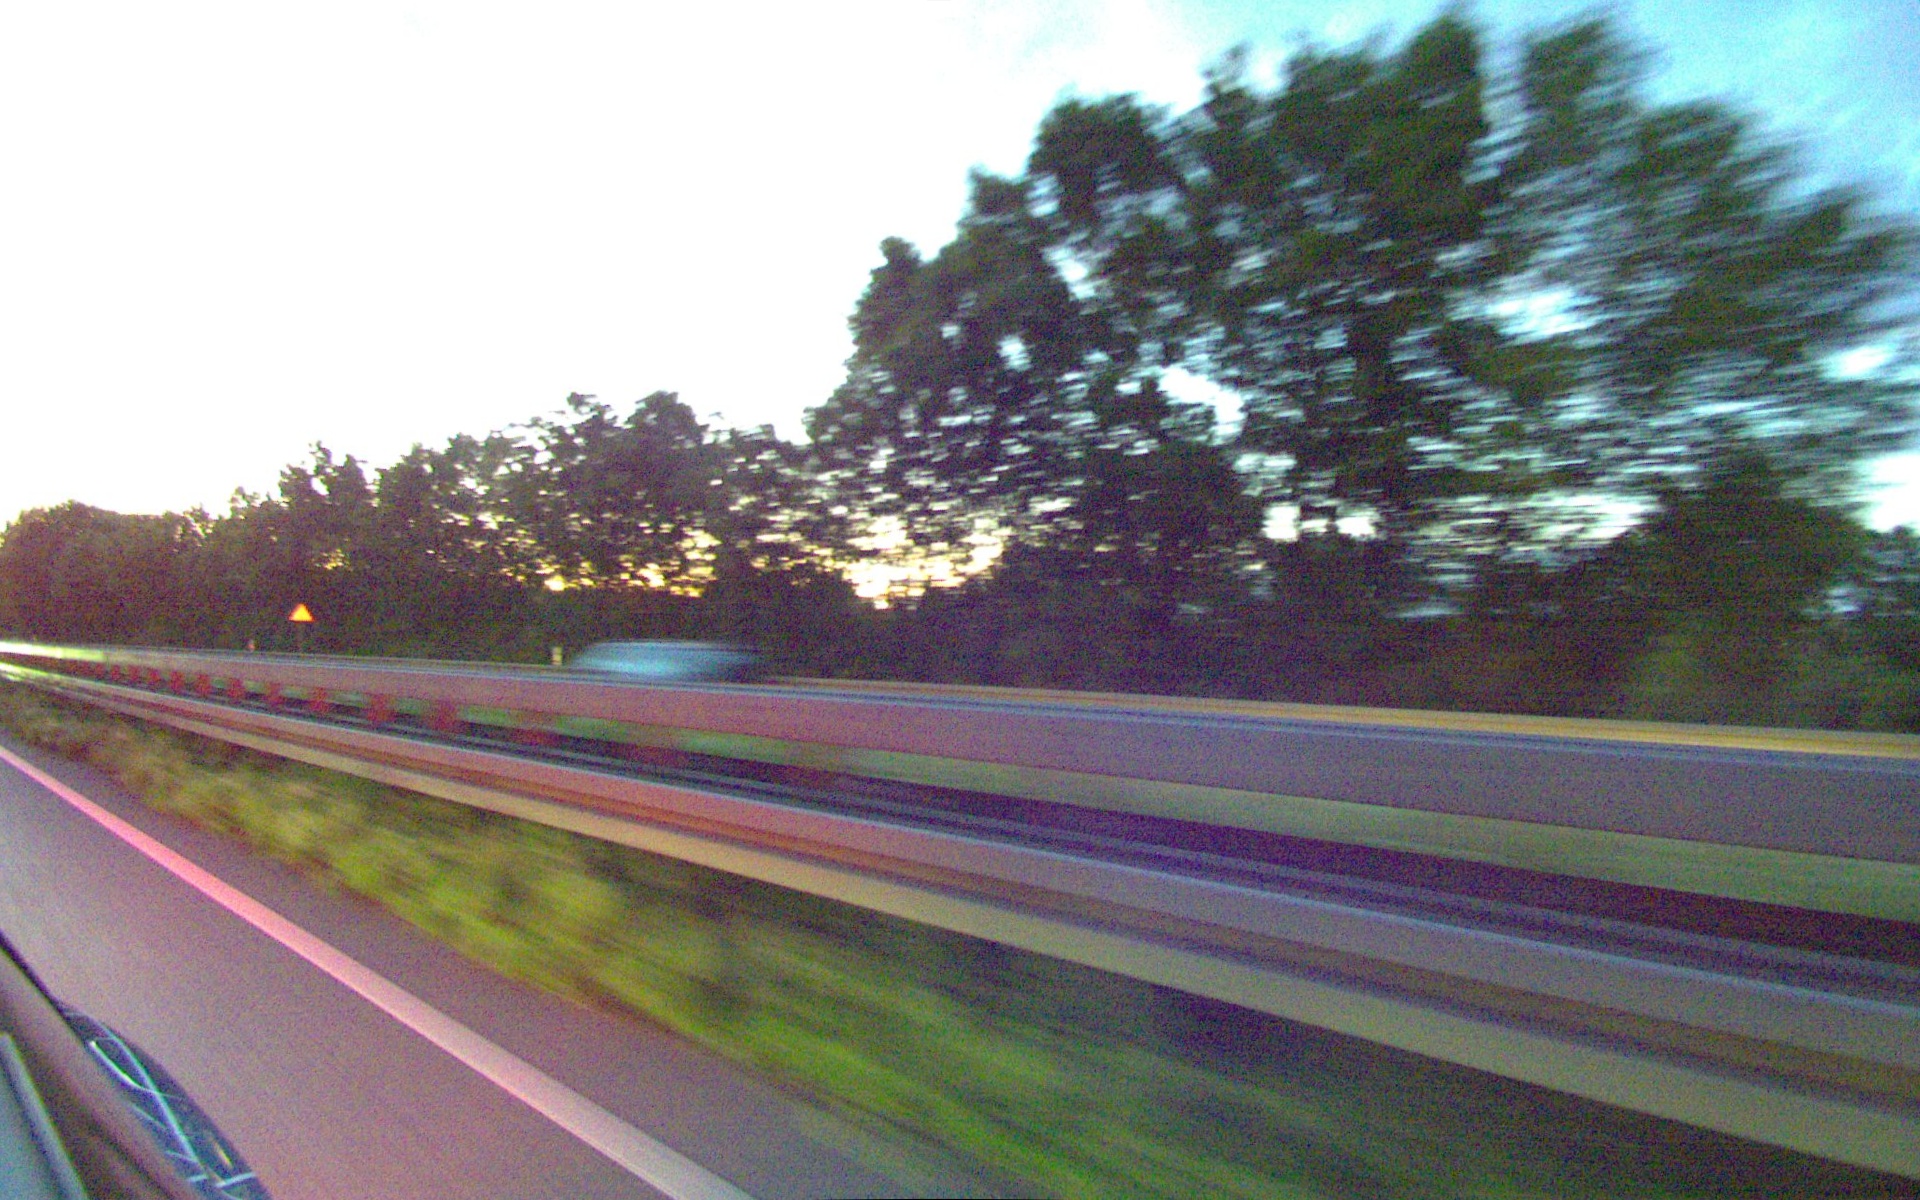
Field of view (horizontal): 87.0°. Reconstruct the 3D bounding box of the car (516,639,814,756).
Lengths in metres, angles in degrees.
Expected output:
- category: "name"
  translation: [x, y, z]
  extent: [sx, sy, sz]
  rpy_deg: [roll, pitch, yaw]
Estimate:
- category: "car"
  translation: [-4.360, 1.300, 14.635]
  extent: [4.497, 1.443, 1.902]
  rpy_deg: [-2, -4, 39]
